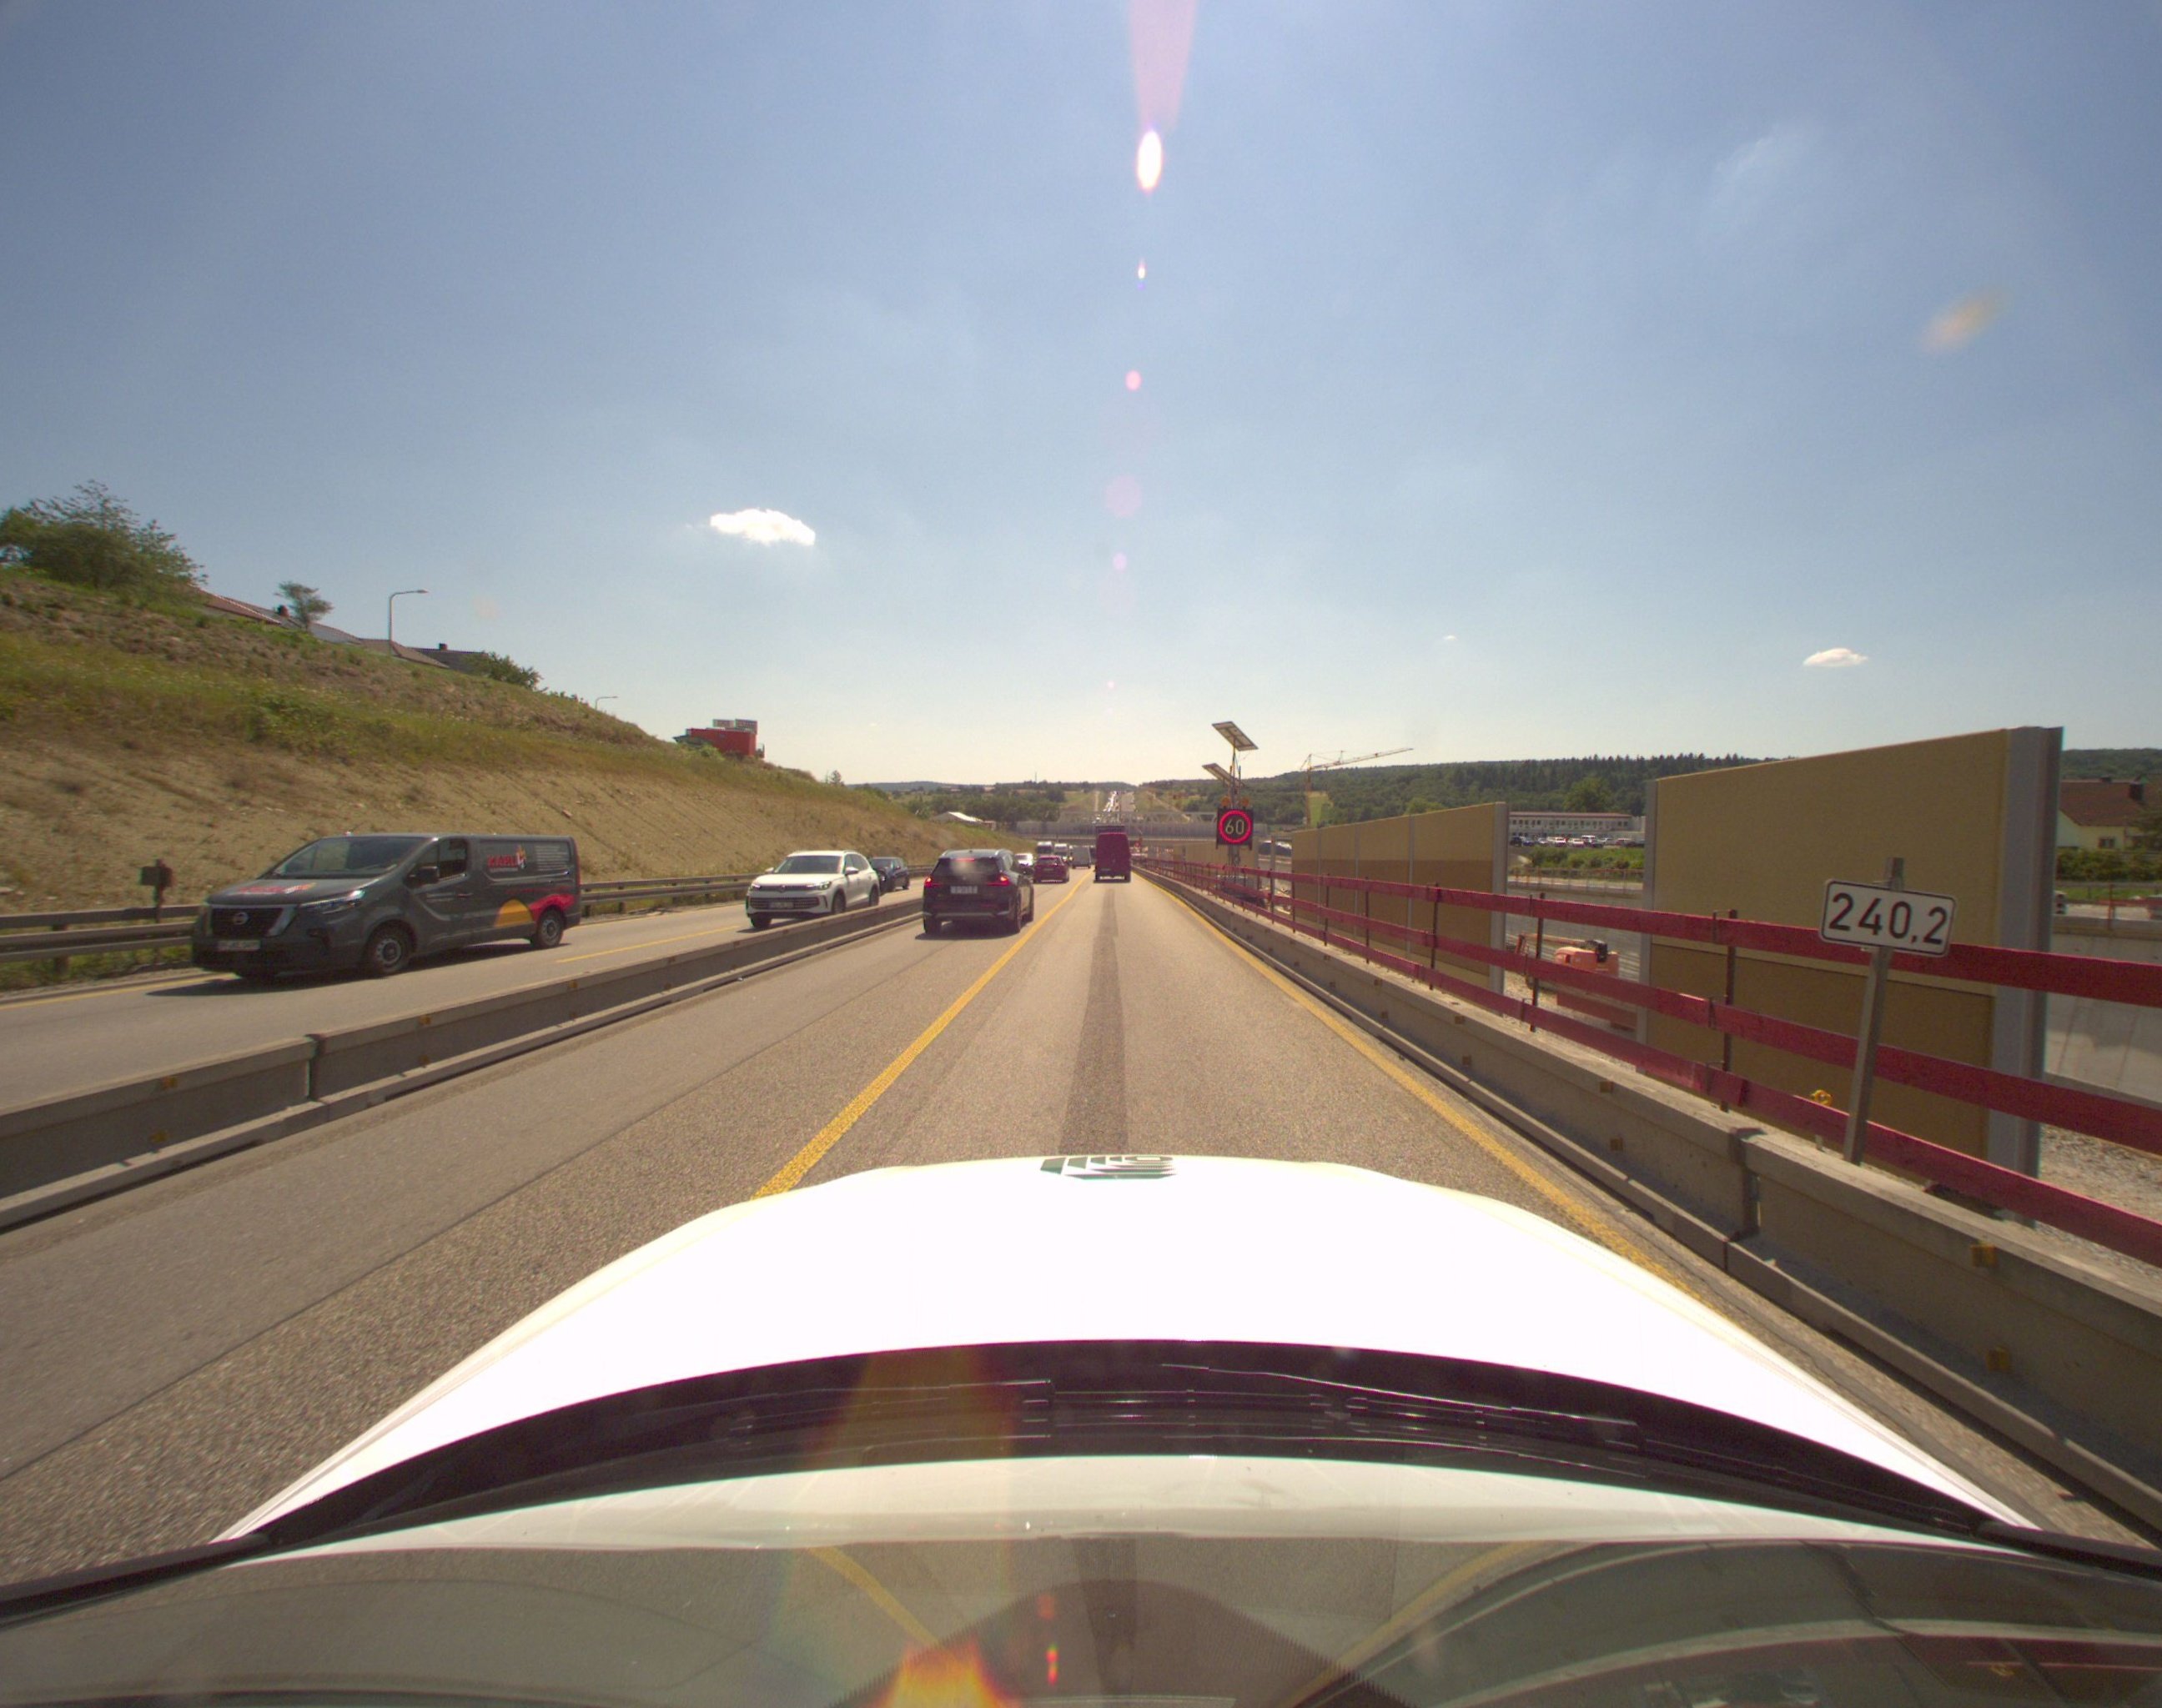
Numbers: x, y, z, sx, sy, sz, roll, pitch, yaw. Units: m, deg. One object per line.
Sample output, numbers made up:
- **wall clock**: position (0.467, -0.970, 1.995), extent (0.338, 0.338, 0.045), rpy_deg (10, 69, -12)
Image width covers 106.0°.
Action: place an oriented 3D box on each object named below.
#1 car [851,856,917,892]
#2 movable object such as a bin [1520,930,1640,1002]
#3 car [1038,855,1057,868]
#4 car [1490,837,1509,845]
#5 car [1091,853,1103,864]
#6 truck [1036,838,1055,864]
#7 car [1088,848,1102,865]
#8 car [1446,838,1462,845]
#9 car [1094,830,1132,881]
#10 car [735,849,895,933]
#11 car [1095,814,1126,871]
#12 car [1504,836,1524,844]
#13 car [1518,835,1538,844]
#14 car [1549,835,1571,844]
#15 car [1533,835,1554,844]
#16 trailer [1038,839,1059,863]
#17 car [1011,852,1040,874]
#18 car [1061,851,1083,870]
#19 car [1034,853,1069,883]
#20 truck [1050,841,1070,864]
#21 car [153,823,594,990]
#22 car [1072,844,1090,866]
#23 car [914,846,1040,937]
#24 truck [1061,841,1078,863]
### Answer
- **car**: position (-8.496, 0.837, 35.531), extent (1.703, 1.418, 4.244), rpy_deg (-1, 0, 2)
- **movable object such as a bin**: position (21.767, 4.837, 35.796), extent (2.598, 2.489, 4.456), rpy_deg (1, 0, 2)
- **car**: position (-3.736, 0.798, 91.038), extent (1.790, 1.427, 4.951), rpy_deg (-1, 0, 2)
- **car**: position (76.973, -2.384, 149.876), extent (1.673, 1.517, 4.079), rpy_deg (0, 0, 4)
- **car**: position (2.523, 0.640, 125.240), extent (1.769, 1.670, 4.030), rpy_deg (-1, 0, 2)
- **truck**: position (-5.683, -0.496, 131.137), extent (2.688, 4.050, 3.956), rpy_deg (0, 0, 1)
- **car**: position (1.913, 0.310, 112.118), extent (1.769, 2.330, 4.208), rpy_deg (-1, 0, 2)
- **car**: position (69.281, -2.307, 151.381), extent (1.508, 1.316, 3.433), rpy_deg (0, 0, 4)
- **car**: position (1.764, 0.079, 45.721), extent (1.981, 2.690, 4.625), rpy_deg (-1, 0, 2)
- **car**: position (-5.969, 0.724, 19.084), extent (1.832, 1.654, 5.373), rpy_deg (-1, 0, 1)
- **car**: position (2.794, -1.055, 77.586), extent (2.611, 5.032, 10.401), rpy_deg (-1, 0, 2)
- **car**: position (79.476, -2.577, 149.535), extent (1.673, 1.517, 4.079), rpy_deg (0, 0, 4)
- **car**: position (82.017, -2.610, 149.363), extent (1.673, 1.517, 4.079), rpy_deg (0, 0, 4)
- **car**: position (87.098, -2.574, 148.114), extent (1.706, 1.517, 4.079), rpy_deg (0, 0, 4)
- **car**: position (84.500, -2.647, 148.933), extent (1.701, 1.517, 4.079), rpy_deg (0, 0, 4)
- **trailer**: position (-5.459, -0.489, 138.745), extent (2.688, 4.024, 13.707), rpy_deg (0, 0, 2)
- **car**: position (-4.401, 0.665, 64.847), extent (1.838, 1.665, 4.690), rpy_deg (0, 0, 2)
- **car**: position (-0.812, 0.615, 74.722), extent (1.833, 1.654, 4.166), rpy_deg (-1, 0, 1)
- **car**: position (-1.618, 0.721, 43.741), extent (1.772, 1.517, 4.201), rpy_deg (-1, 0, -3)
- **truck**: position (-3.007, -0.228, 119.476), extent (2.529, 3.374, 7.040), rpy_deg (0, 0, 2)
- **car**: position (-9.956, 0.611, 12.253), extent (2.031, 1.926, 5.123), rpy_deg (-2, 0, 1)
- **car**: position (0.005, 0.127, 91.587), extent (1.769, 2.441, 4.208), rpy_deg (-1, 0, 2)
- **car**: position (-2.011, 0.677, 17.075), extent (1.872, 1.618, 4.501), rpy_deg (-1, 0, 2)
- **truck**: position (-1.883, -0.341, 139.480), extent (2.580, 3.758, 7.361), rpy_deg (0, 0, 2)
